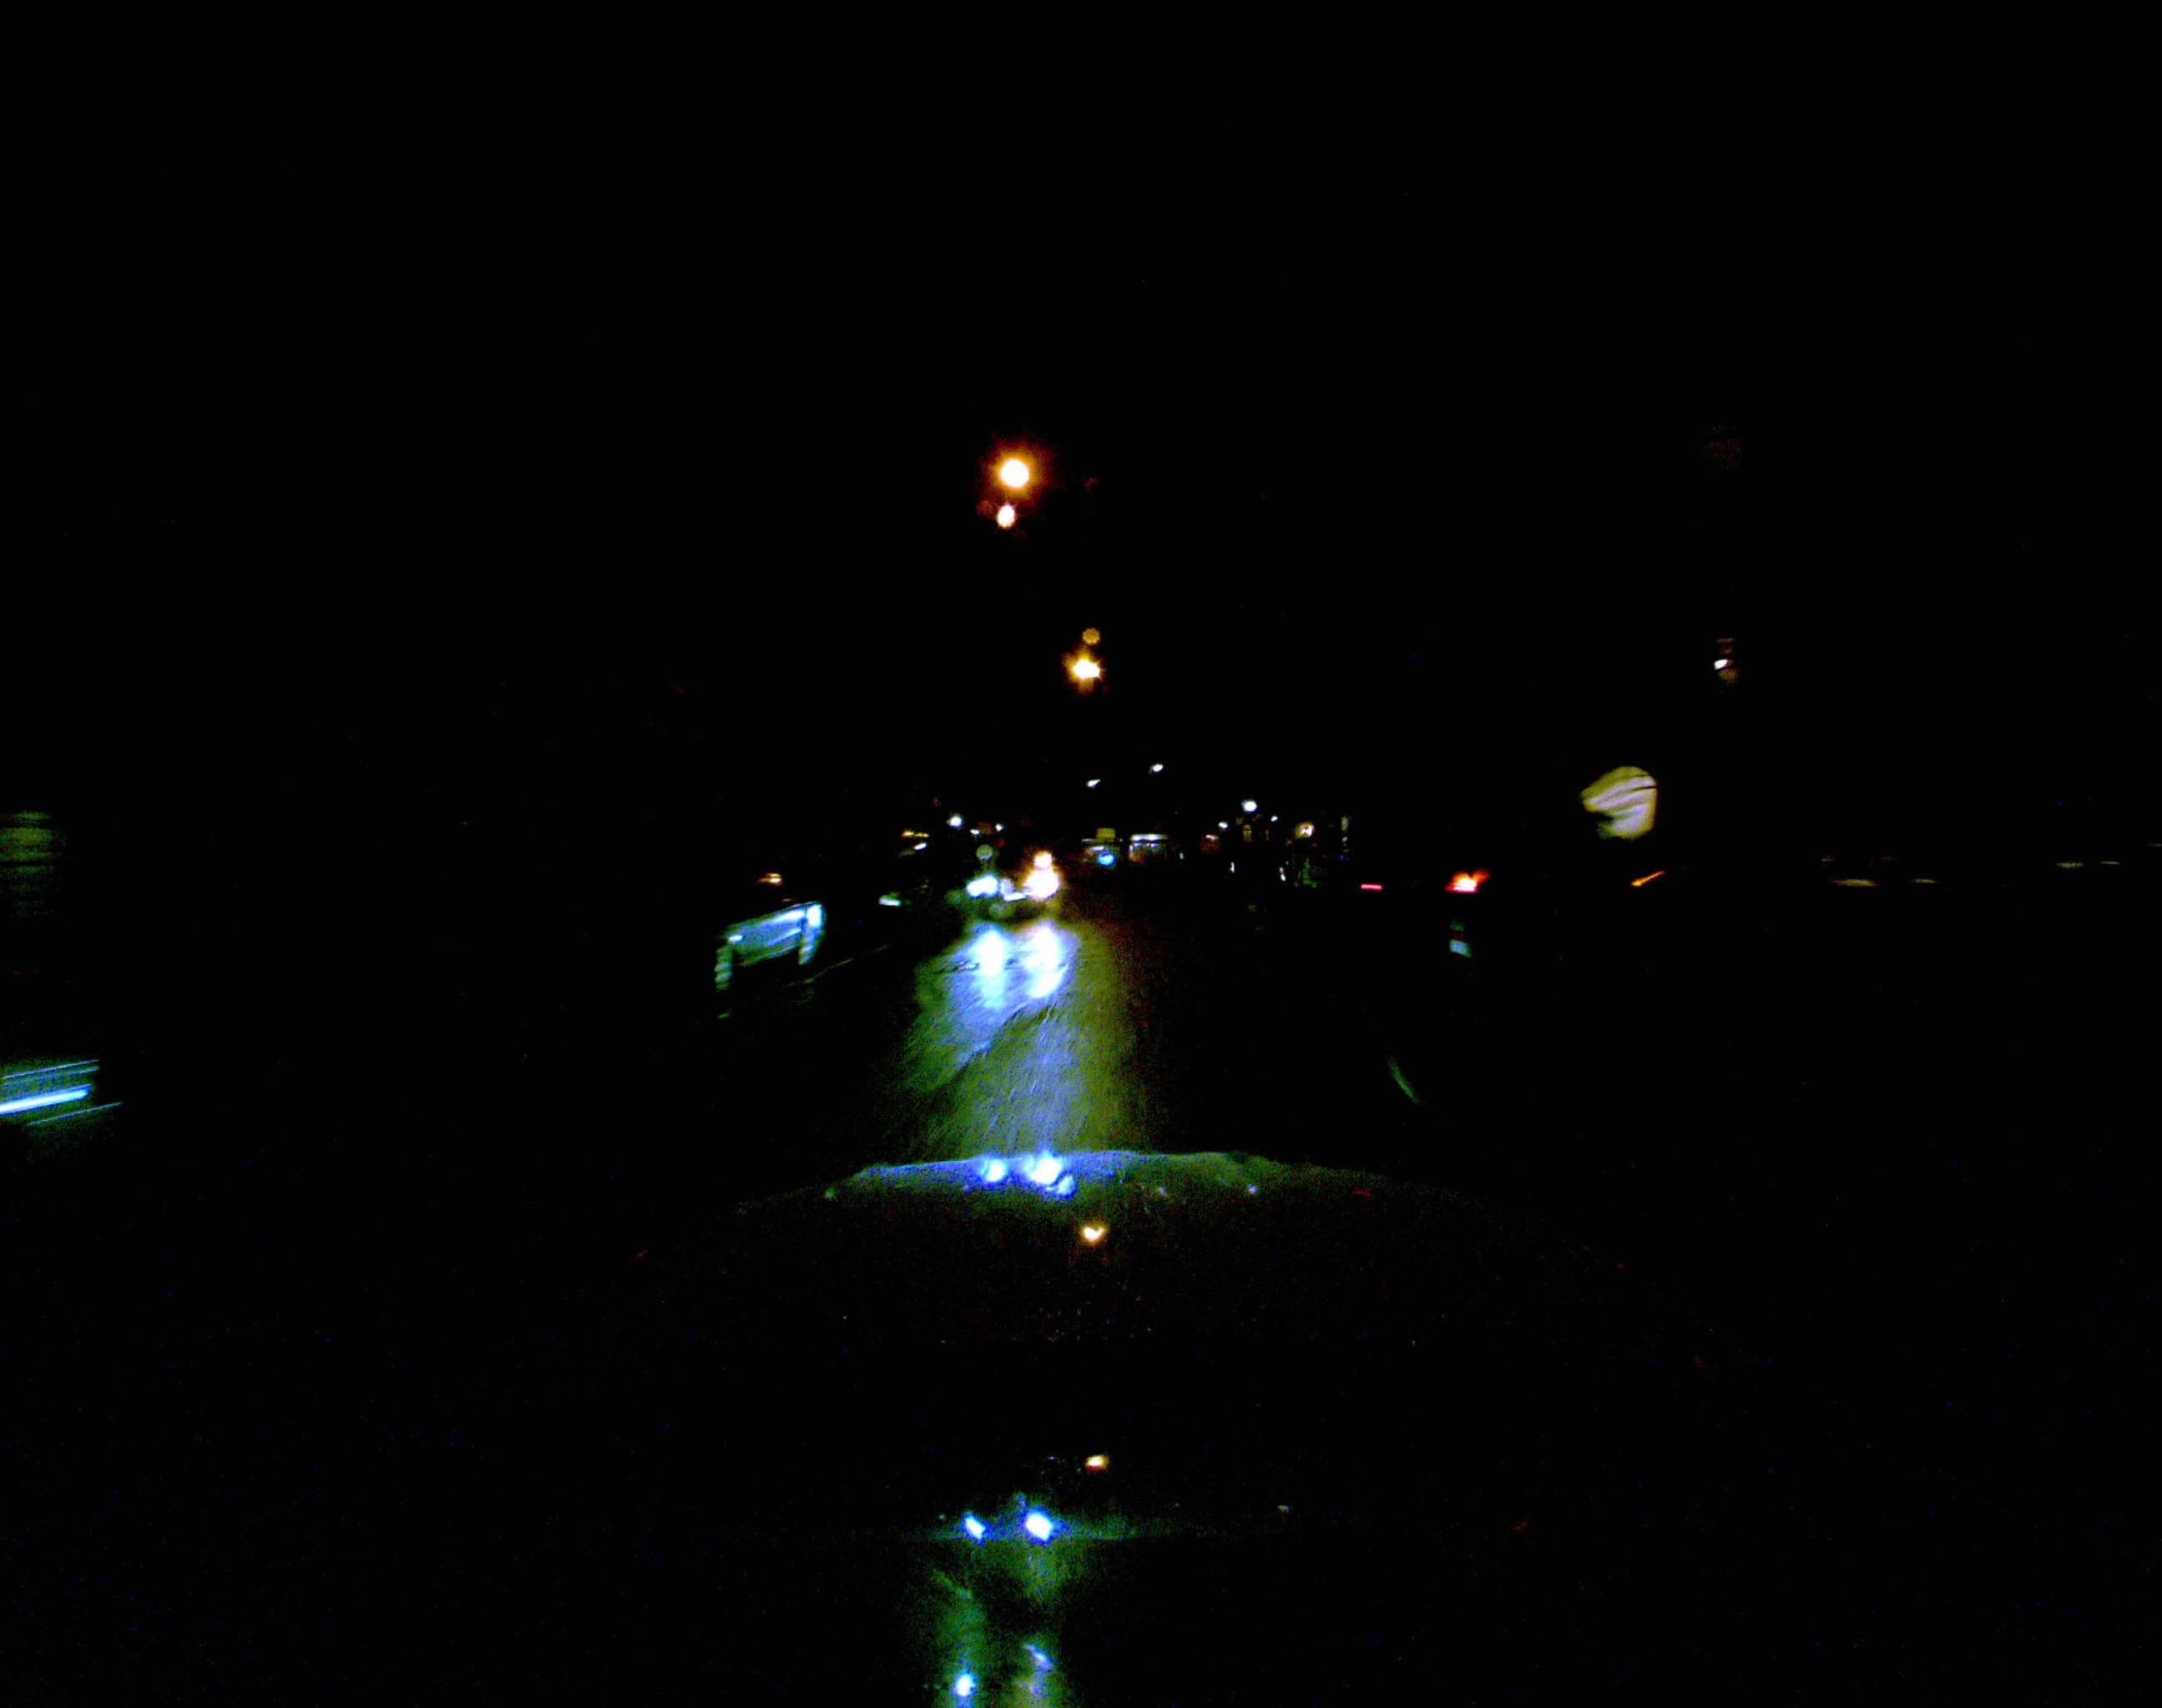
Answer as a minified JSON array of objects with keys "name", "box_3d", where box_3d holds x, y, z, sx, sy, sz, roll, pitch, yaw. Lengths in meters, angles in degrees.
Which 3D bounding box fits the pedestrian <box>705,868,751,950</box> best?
[{"name":"pedestrian","box_3d":[-6.827,1.042,15.771,0.656,1.552,0.759,0,-1,-12]}]

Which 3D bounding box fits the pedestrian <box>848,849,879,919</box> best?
[{"name":"pedestrian","box_3d":[-6.225,0.839,23.341,0.653,1.974,0.770,0,-1,2]}]

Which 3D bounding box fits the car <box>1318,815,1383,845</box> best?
[{"name":"car","box_3d":[15.805,-1.372,47.746,3.468,1.613,1.721,0,-1,-27]}]

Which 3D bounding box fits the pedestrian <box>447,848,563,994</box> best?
[{"name":"pedestrian","box_3d":[-7.451,0.830,10.577,0.739,1.804,0.988,0,-1,6]}]

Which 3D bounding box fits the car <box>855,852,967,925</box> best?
[{"name":"car","box_3d":[-4.432,0.845,21.976,1.825,1.717,4.597,-2,0,2]}]

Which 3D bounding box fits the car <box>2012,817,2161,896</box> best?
[{"name":"car","box_3d":[22.343,-0.021,16.779,4.395,1.502,1.770,-2,0,-2]}]

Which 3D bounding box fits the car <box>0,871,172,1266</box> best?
[{"name":"car","box_3d":[-5.322,0.899,2.039,1.738,1.588,3.768,-2,0,2]}]

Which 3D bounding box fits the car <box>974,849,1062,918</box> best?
[{"name":"car","box_3d":[-1.632,0.734,22.705,1.914,1.618,4.575,-4,0,1]}]

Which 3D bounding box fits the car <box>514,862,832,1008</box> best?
[{"name":"car","box_3d":[-5.116,0.897,11.100,1.825,1.486,4.597,-2,0,2]}]

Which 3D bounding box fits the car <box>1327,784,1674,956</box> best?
[{"name":"car","box_3d":[6.021,0.131,11.625,4.704,2.049,1.985,-2,0,-27]}]
